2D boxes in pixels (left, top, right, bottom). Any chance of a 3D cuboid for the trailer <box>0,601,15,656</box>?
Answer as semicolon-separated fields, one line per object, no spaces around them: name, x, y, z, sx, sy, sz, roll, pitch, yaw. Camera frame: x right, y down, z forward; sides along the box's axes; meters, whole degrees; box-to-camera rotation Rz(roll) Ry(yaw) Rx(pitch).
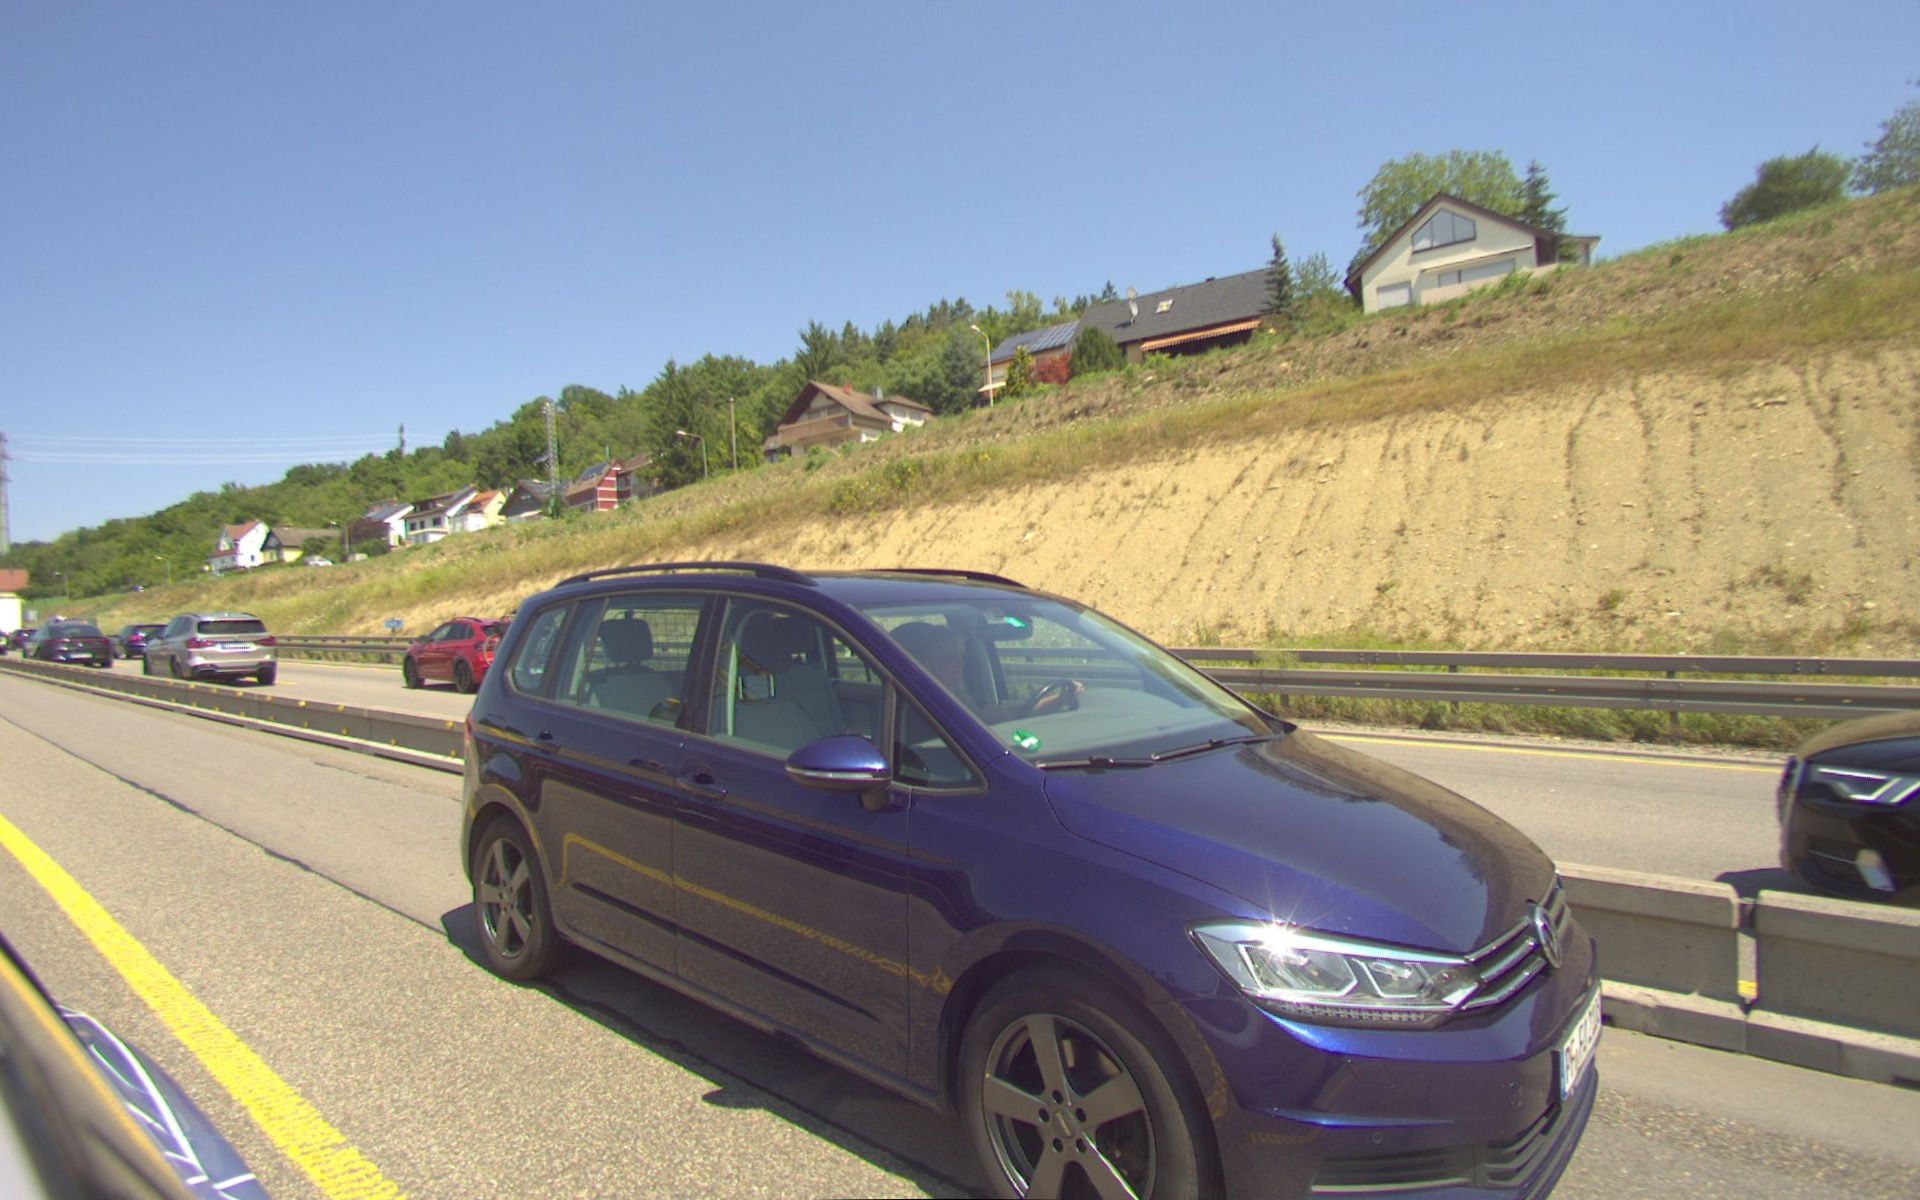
trailer;-79.210;2.328;81.673;13.969;4.214;2.757;-2;-1;41

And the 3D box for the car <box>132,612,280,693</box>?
car;-17.676;1.161;23.634;4.686;1.678;1.826;-2;-1;41

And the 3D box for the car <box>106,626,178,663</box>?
car;-34.748;1.863;42.941;4.240;1.429;1.692;-2;-1;41

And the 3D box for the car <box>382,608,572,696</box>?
car;-10.131;1.016;21.012;5.123;1.597;1.667;-2;-1;41

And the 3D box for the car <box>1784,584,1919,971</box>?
car;5.730;0.619;3.073;4.947;1.438;1.778;-2;-1;41

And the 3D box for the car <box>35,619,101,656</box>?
car;-49.576;2.068;56.196;5.118;1.941;2.017;-2;-2;40

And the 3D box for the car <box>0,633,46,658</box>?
car;-63.059;3.030;67.936;4.716;1.518;1.973;-1;0;41

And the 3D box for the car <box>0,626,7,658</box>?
car;-52.191;2.252;53.694;5.367;1.667;1.820;-2;-2;41

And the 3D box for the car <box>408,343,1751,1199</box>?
car;-0.155;0.565;3.686;4.650;1.731;1.757;-3;-2;41

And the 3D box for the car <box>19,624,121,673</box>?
car;-30.306;1.597;34.406;5.087;1.510;1.935;-2;0;41
